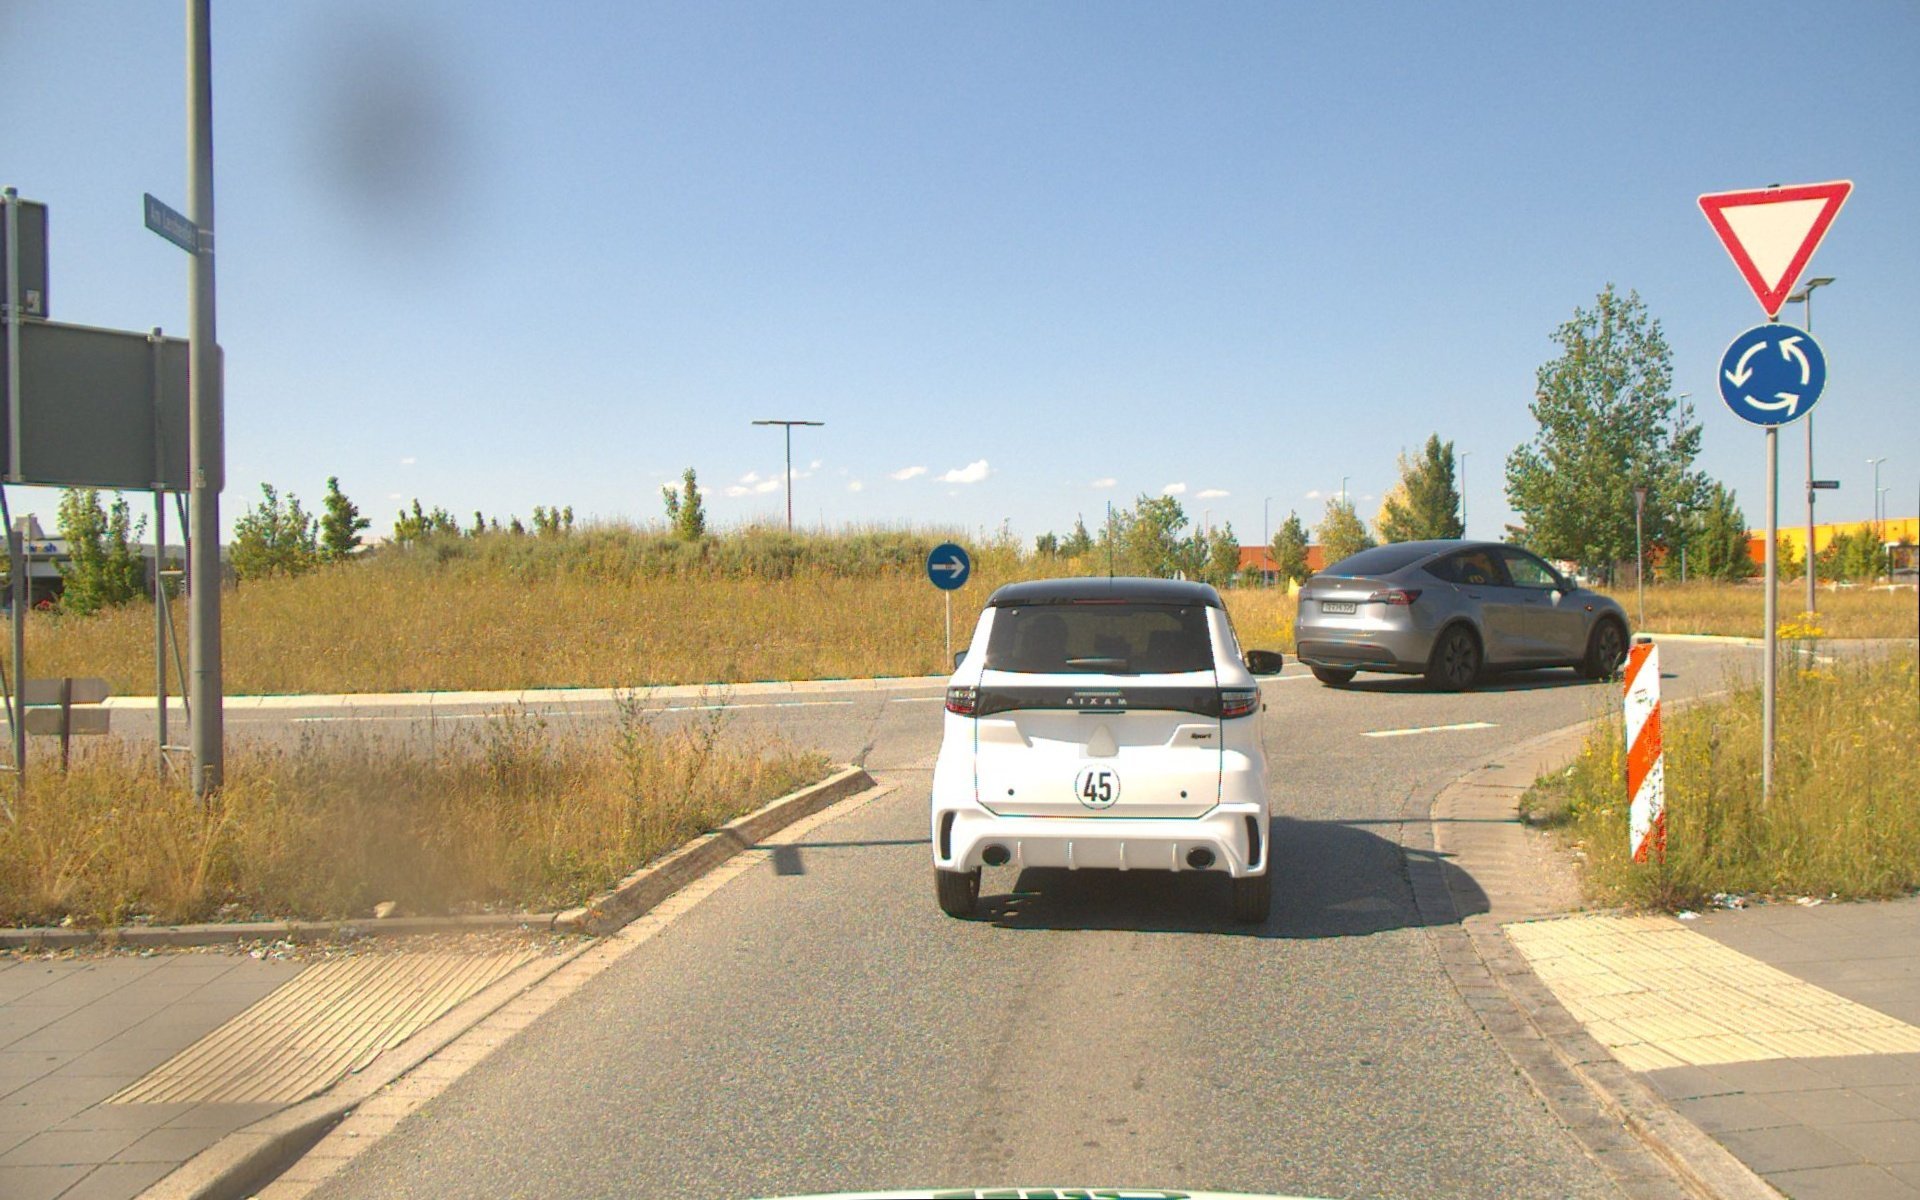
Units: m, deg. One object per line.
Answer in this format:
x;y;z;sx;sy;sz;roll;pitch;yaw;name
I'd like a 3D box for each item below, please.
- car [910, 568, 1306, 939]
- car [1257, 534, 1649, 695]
0.847;0.586;8.581;1.582;1.459;3.796;-1;1;8;car
5.750;0.084;19.084;4.570;1.654;1.940;-2;1;-35;car
